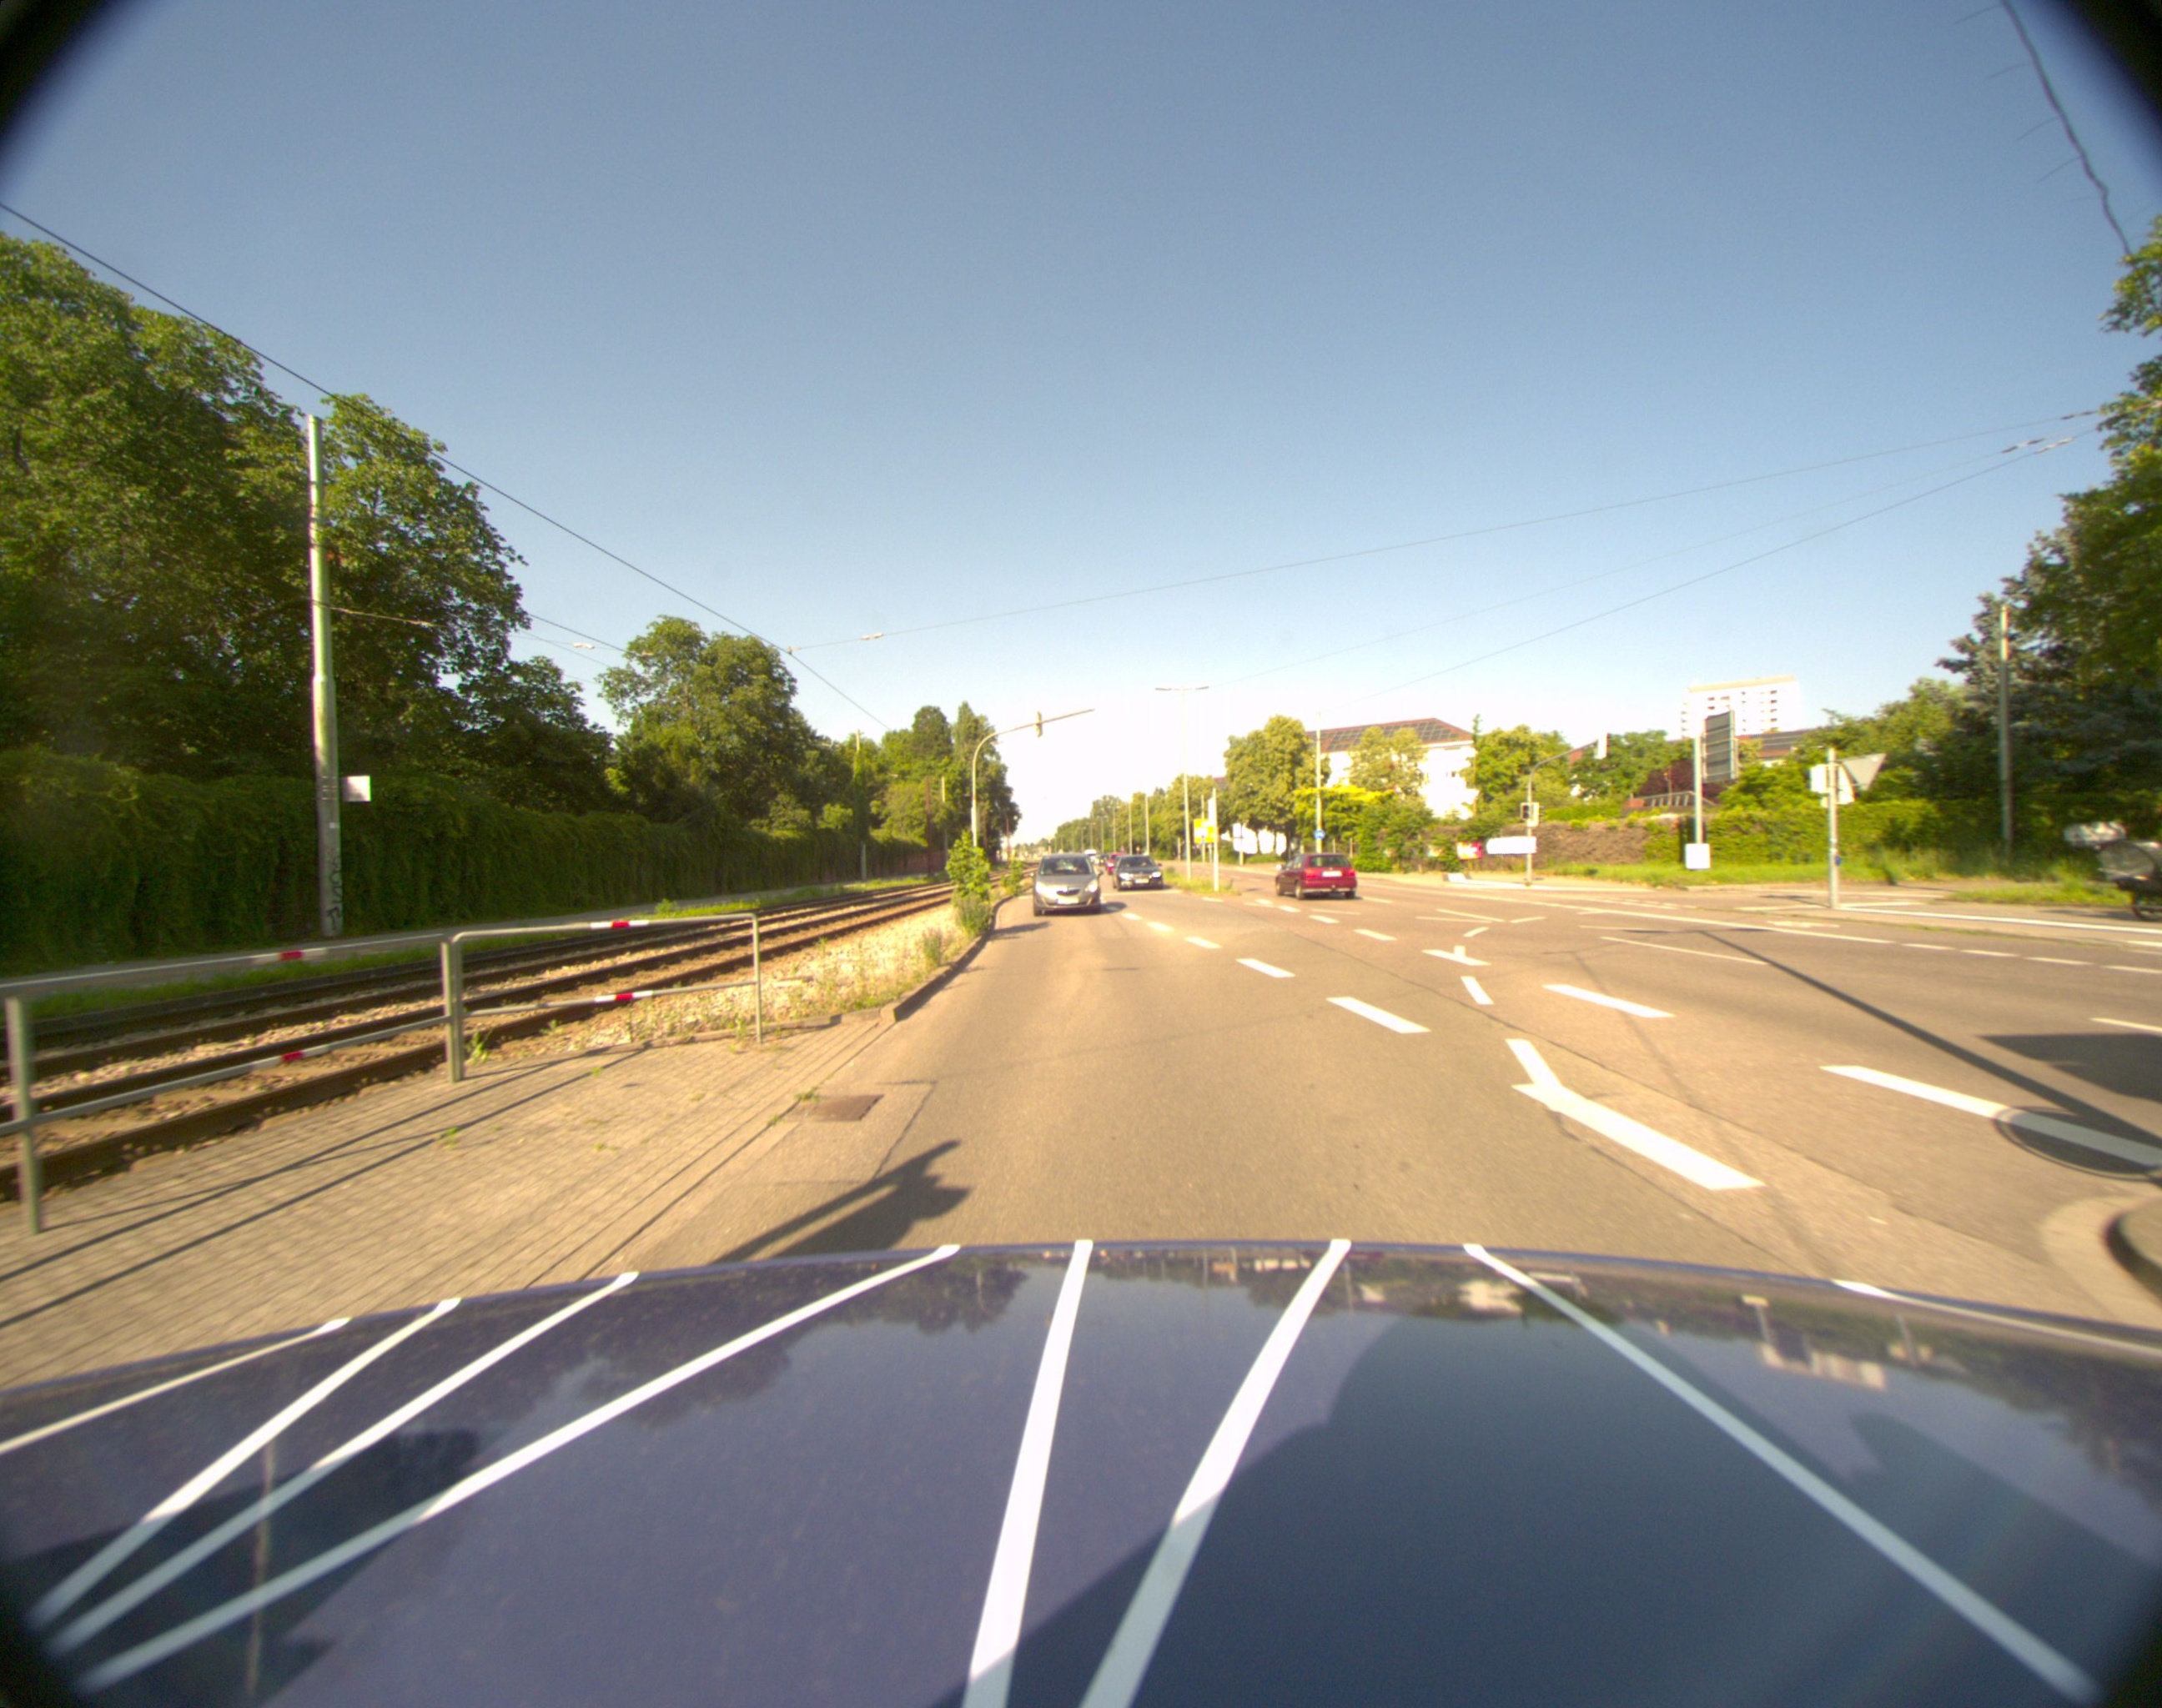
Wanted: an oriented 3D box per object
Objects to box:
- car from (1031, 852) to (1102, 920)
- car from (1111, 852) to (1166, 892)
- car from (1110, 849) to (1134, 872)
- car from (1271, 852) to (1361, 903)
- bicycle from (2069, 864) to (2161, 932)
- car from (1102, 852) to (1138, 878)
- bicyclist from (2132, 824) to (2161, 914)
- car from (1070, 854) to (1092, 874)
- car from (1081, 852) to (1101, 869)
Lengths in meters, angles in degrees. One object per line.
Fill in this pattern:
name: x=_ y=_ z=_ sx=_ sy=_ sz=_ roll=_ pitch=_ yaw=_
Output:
car: x=-0.311 y=0.781 z=20.349 sx=1.650 sy=1.581 sz=3.833 roll=-3 pitch=0 yaw=1
car: x=2.356 y=0.689 z=32.312 sx=1.765 sy=1.477 sz=4.644 roll=-3 pitch=0 yaw=-2
car: x=3.082 y=0.451 z=57.359 sx=1.692 sy=1.573 sz=3.833 roll=-3 pitch=0 yaw=2
car: x=7.159 y=0.655 z=23.564 sx=1.656 sy=1.387 sz=4.134 roll=-1 pitch=0 yaw=3
bicycle: x=17.678 y=0.716 z=12.109 sx=0.663 sy=1.043 sz=2.581 roll=-1 pitch=0 yaw=5
car: x=2.324 y=0.610 z=45.854 sx=1.693 sy=1.420 sz=3.832 roll=-3 pitch=0 yaw=-3
bicyclist: x=17.661 y=0.240 z=12.008 sx=0.663 sy=1.444 sz=1.051 roll=-1 pitch=1 yaw=5
car: x=-0.022 y=0.830 z=62.576 sx=1.710 sy=1.513 sz=3.832 roll=-3 pitch=0 yaw=-1
car: x=0.959 y=0.631 z=74.301 sx=1.710 sy=1.513 sz=3.832 roll=-3 pitch=0 yaw=-2
